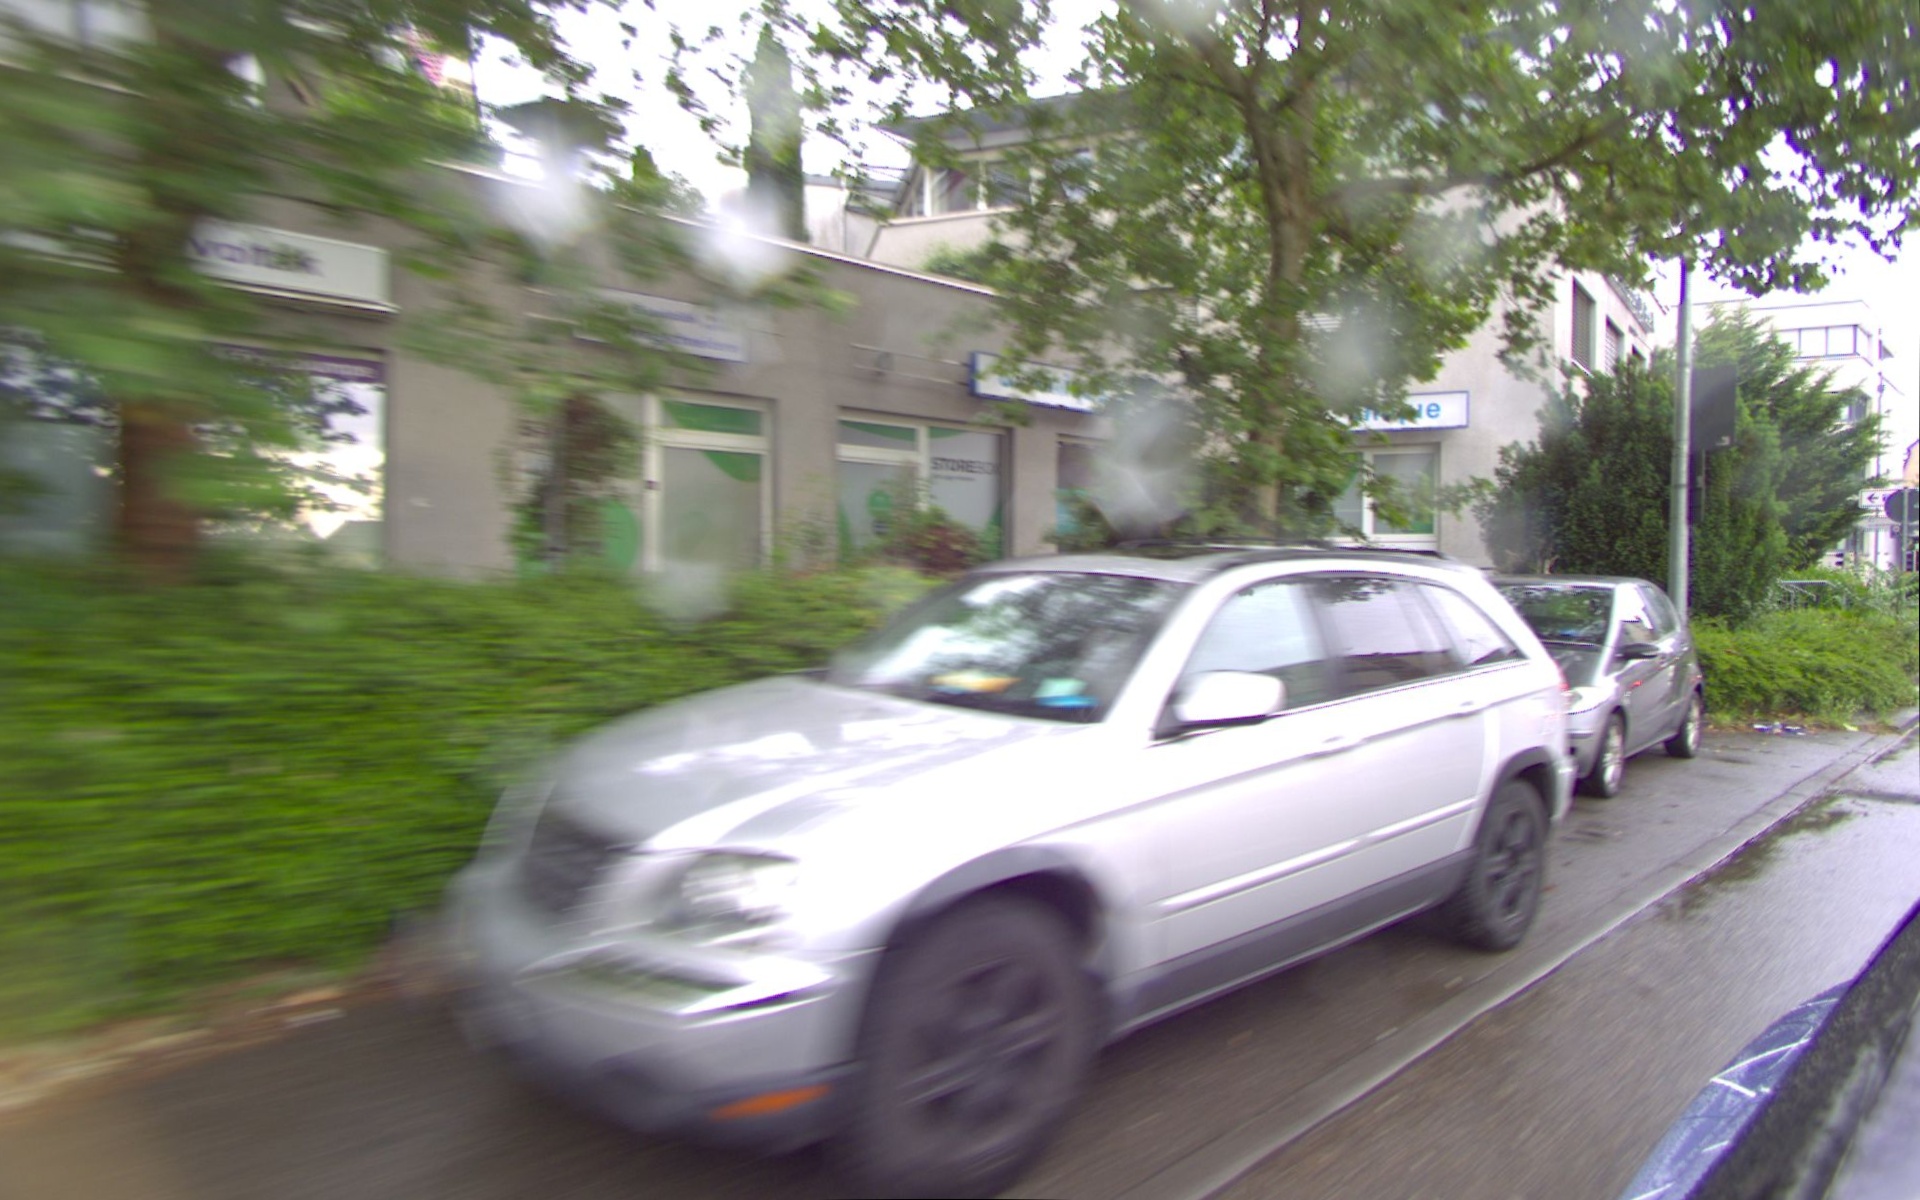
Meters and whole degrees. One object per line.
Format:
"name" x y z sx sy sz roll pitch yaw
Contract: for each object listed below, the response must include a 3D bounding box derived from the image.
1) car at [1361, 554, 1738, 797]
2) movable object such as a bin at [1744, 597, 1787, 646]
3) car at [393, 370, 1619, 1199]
"car" 5.148 0.462 8.629 3.848 1.592 1.712 0 2 -43
"movable object such as a bin" 15.746 0.425 19.784 0.482 0.921 0.483 4 -2 -29
"car" 0.603 0.470 3.939 4.648 1.802 1.935 0 2 -39
